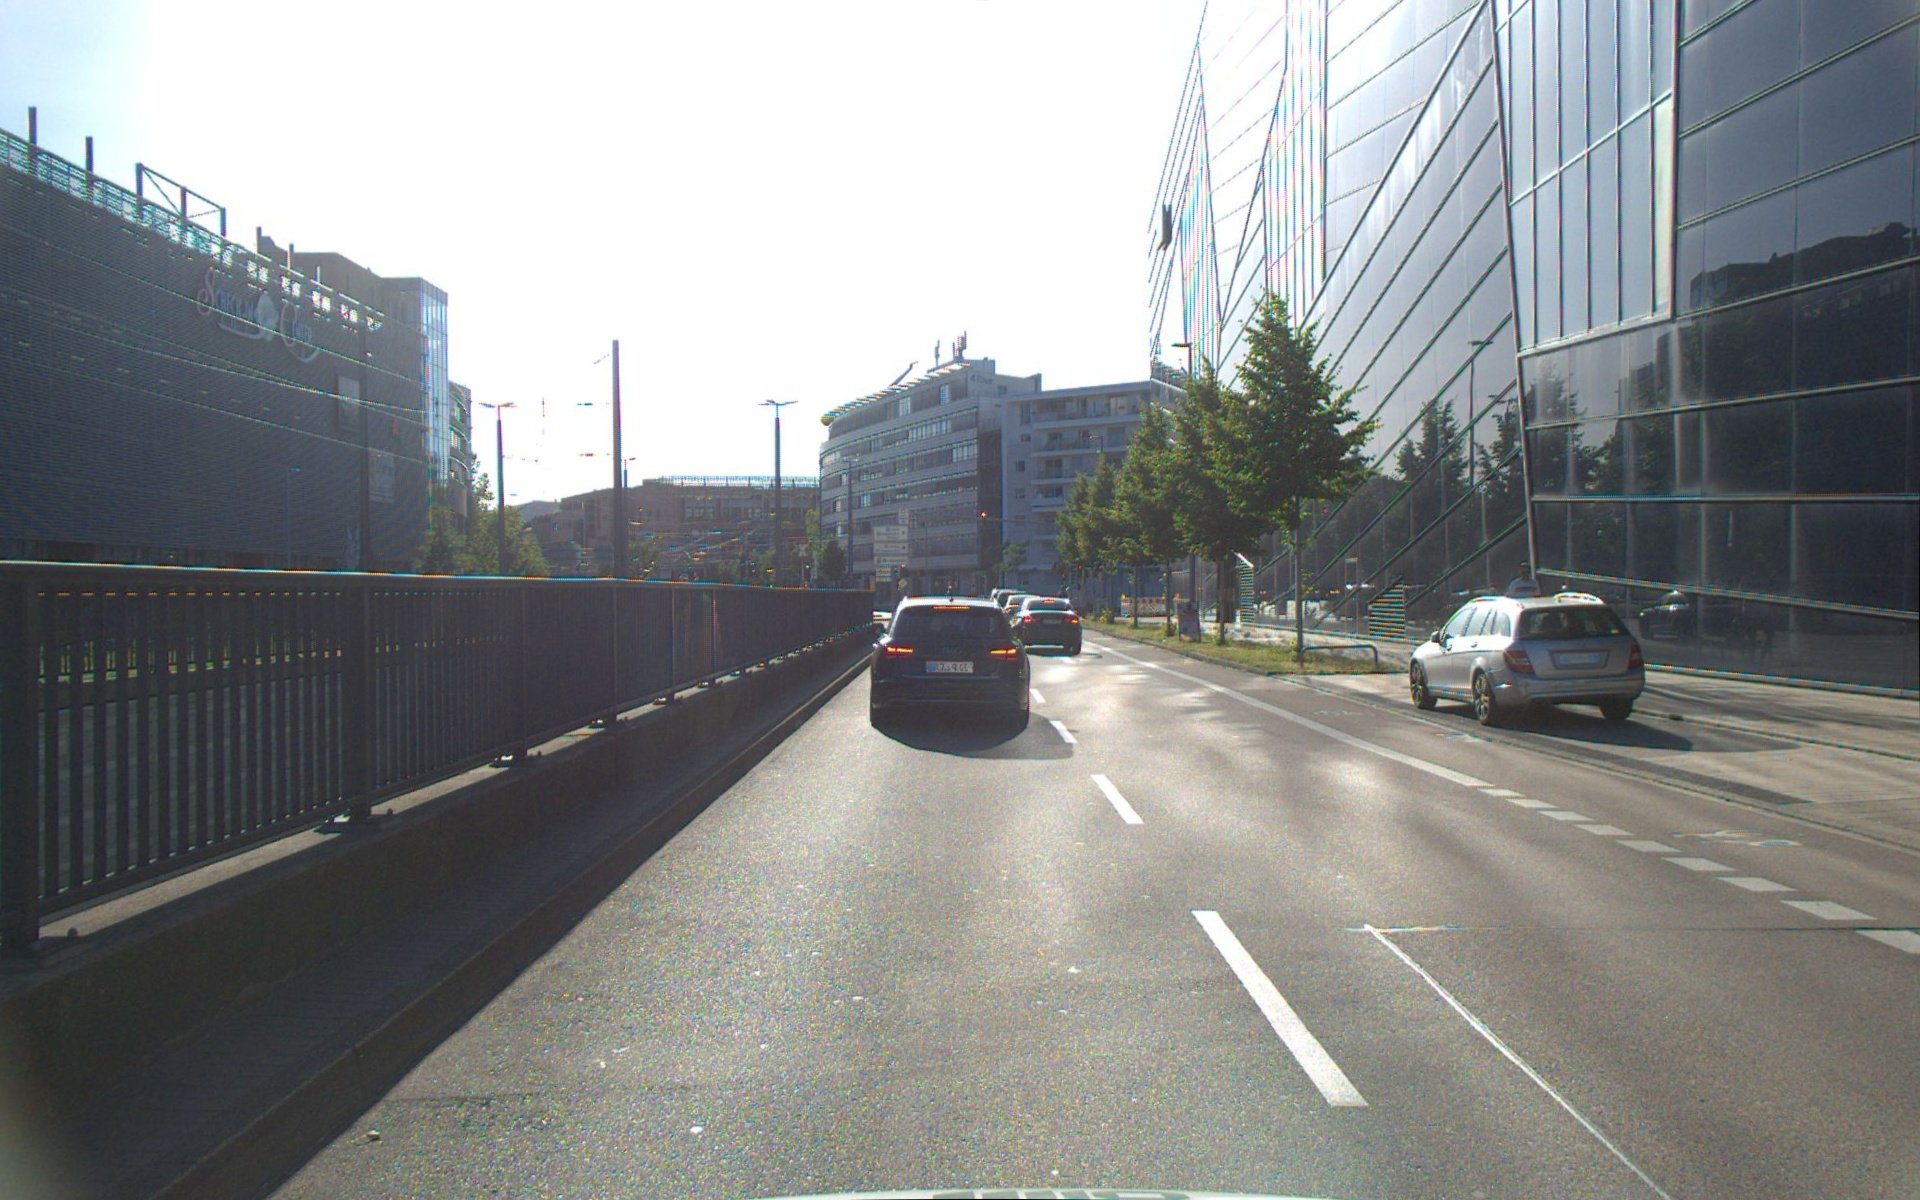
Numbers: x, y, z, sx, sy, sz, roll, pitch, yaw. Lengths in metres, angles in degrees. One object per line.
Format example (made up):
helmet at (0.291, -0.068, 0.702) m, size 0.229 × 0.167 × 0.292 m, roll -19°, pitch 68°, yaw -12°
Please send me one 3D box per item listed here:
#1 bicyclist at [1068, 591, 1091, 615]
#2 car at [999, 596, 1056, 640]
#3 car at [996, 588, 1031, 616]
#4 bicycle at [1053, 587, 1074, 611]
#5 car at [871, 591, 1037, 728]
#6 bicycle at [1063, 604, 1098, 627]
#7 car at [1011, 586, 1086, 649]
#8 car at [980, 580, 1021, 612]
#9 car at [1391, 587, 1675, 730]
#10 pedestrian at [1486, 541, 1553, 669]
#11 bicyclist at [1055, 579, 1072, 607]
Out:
bicyclist at (6.617, 0.179, 91.523) m, size 1.027 × 1.291 × 0.715 m, roll -2°, pitch 0°, yaw -42°
car at (2.542, 0.655, 62.859) m, size 1.953 × 1.491 × 4.000 m, roll 1°, pitch 1°, yaw -1°
car at (3.008, 0.089, 93.596) m, size 1.952 × 1.491 × 4.001 m, roll 1°, pitch 1°, yaw 1°
bicycle at (5.472, -0.044, 87.306) m, size 0.710 × 1.204 × 2.090 m, roll -2°, pitch 0°, yaw -7°
car at (-0.099, 0.640, 20.202) m, size 1.775 × 1.452 × 4.688 m, roll -1°, pitch 0°, yaw -1°
bicycle at (6.683, 0.869, 91.554) m, size 2.076 × 1.204 × 0.715 m, roll -2°, pitch 0°, yaw -43°
car at (2.330, 0.421, 44.395) m, size 1.814 × 1.573 × 4.000 m, roll 1°, pitch 1°, yaw 0°
car at (2.026, -0.198, 82.543) m, size 1.952 × 1.491 × 4.001 m, roll 1°, pitch 1°, yaw 1°
car at (7.042, 0.638, 20.914) m, size 1.815 × 1.506 × 4.853 m, roll -2°, pitch 1°, yaw -1°
pedestrian at (9.181, 0.078, 27.162) m, size 0.819 × 2.049 × 0.689 m, roll -1°, pitch 0°, yaw 0°
bicyclist at (5.476, -0.363, 87.326) m, size 0.710 × 1.443 × 0.890 m, roll -2°, pitch 0°, yaw -7°
